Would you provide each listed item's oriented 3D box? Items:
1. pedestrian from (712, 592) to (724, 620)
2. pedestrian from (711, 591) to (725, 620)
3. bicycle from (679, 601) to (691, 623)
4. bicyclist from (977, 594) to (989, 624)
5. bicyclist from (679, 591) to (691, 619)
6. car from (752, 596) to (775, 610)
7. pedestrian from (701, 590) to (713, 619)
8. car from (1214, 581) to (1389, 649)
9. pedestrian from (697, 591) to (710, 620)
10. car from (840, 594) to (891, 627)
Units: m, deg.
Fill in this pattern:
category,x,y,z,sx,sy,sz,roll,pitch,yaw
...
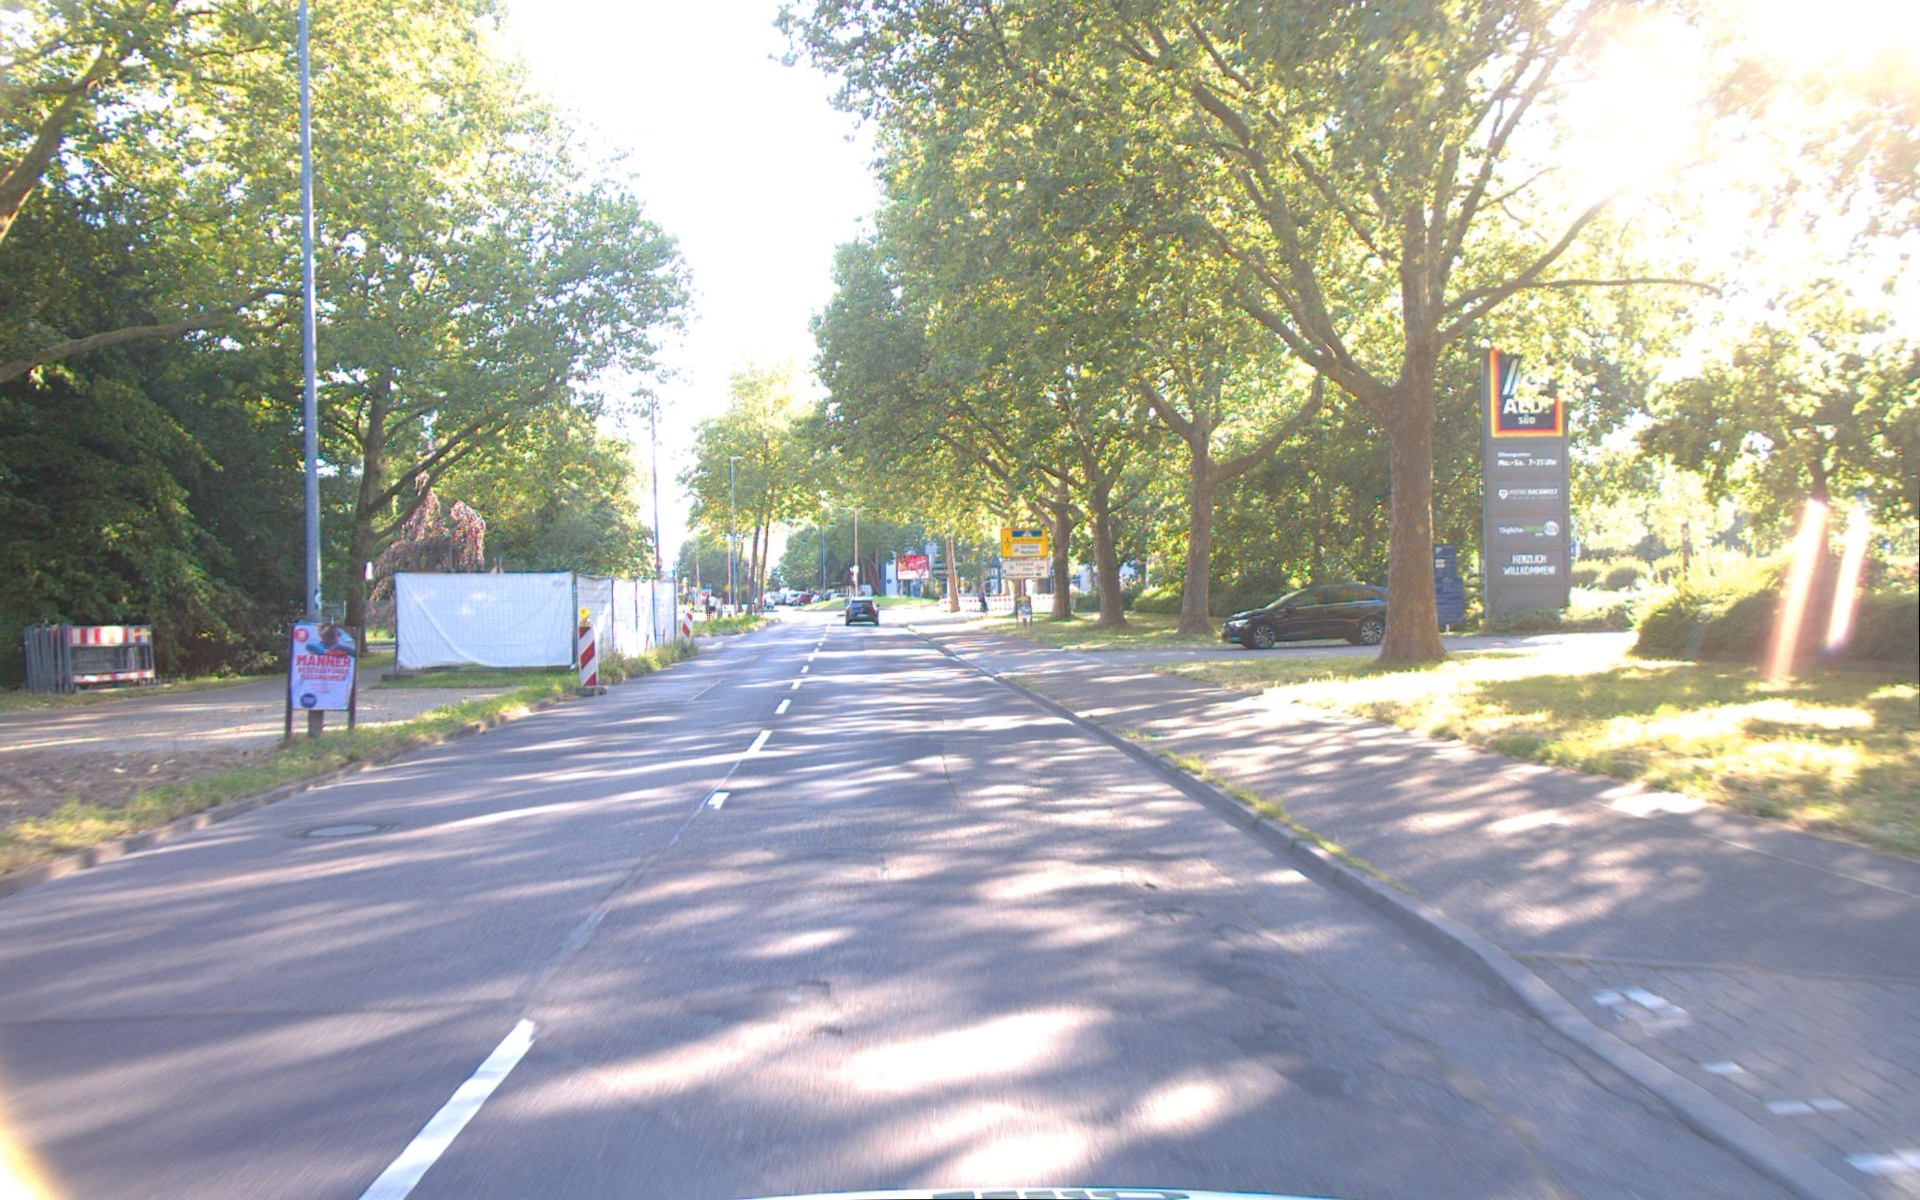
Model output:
category,x,y,z,sx,sy,sz,roll,pitch,yaw
pedestrian,-14.805,0.362,101.227,0.620,1.666,0.576,-2,0,-3
pedestrian,-14.951,0.338,102.157,0.733,1.769,0.851,-2,0,-2
bicycle,-17.206,0.766,103.501,0.567,1.267,2.106,-3,2,-5
bicyclist,1.351,0.522,97.166,0.638,1.735,0.871,0,0,-3
bicyclist,-17.226,0.321,103.518,0.567,1.708,0.970,-3,1,-5
car,-23.711,0.332,199.390,1.964,1.606,3.977,-2,1,-19
pedestrian,-15.547,0.282,101.616,0.620,1.769,0.664,-2,0,-2
car,8.361,0.356,40.725,3.906,1.468,1.760,-3,0,-1
pedestrian,-15.891,0.365,102.349,0.652,1.769,0.751,-2,0,-2
car,-4.980,0.522,87.696,1.800,1.633,3.866,-3,0,10
